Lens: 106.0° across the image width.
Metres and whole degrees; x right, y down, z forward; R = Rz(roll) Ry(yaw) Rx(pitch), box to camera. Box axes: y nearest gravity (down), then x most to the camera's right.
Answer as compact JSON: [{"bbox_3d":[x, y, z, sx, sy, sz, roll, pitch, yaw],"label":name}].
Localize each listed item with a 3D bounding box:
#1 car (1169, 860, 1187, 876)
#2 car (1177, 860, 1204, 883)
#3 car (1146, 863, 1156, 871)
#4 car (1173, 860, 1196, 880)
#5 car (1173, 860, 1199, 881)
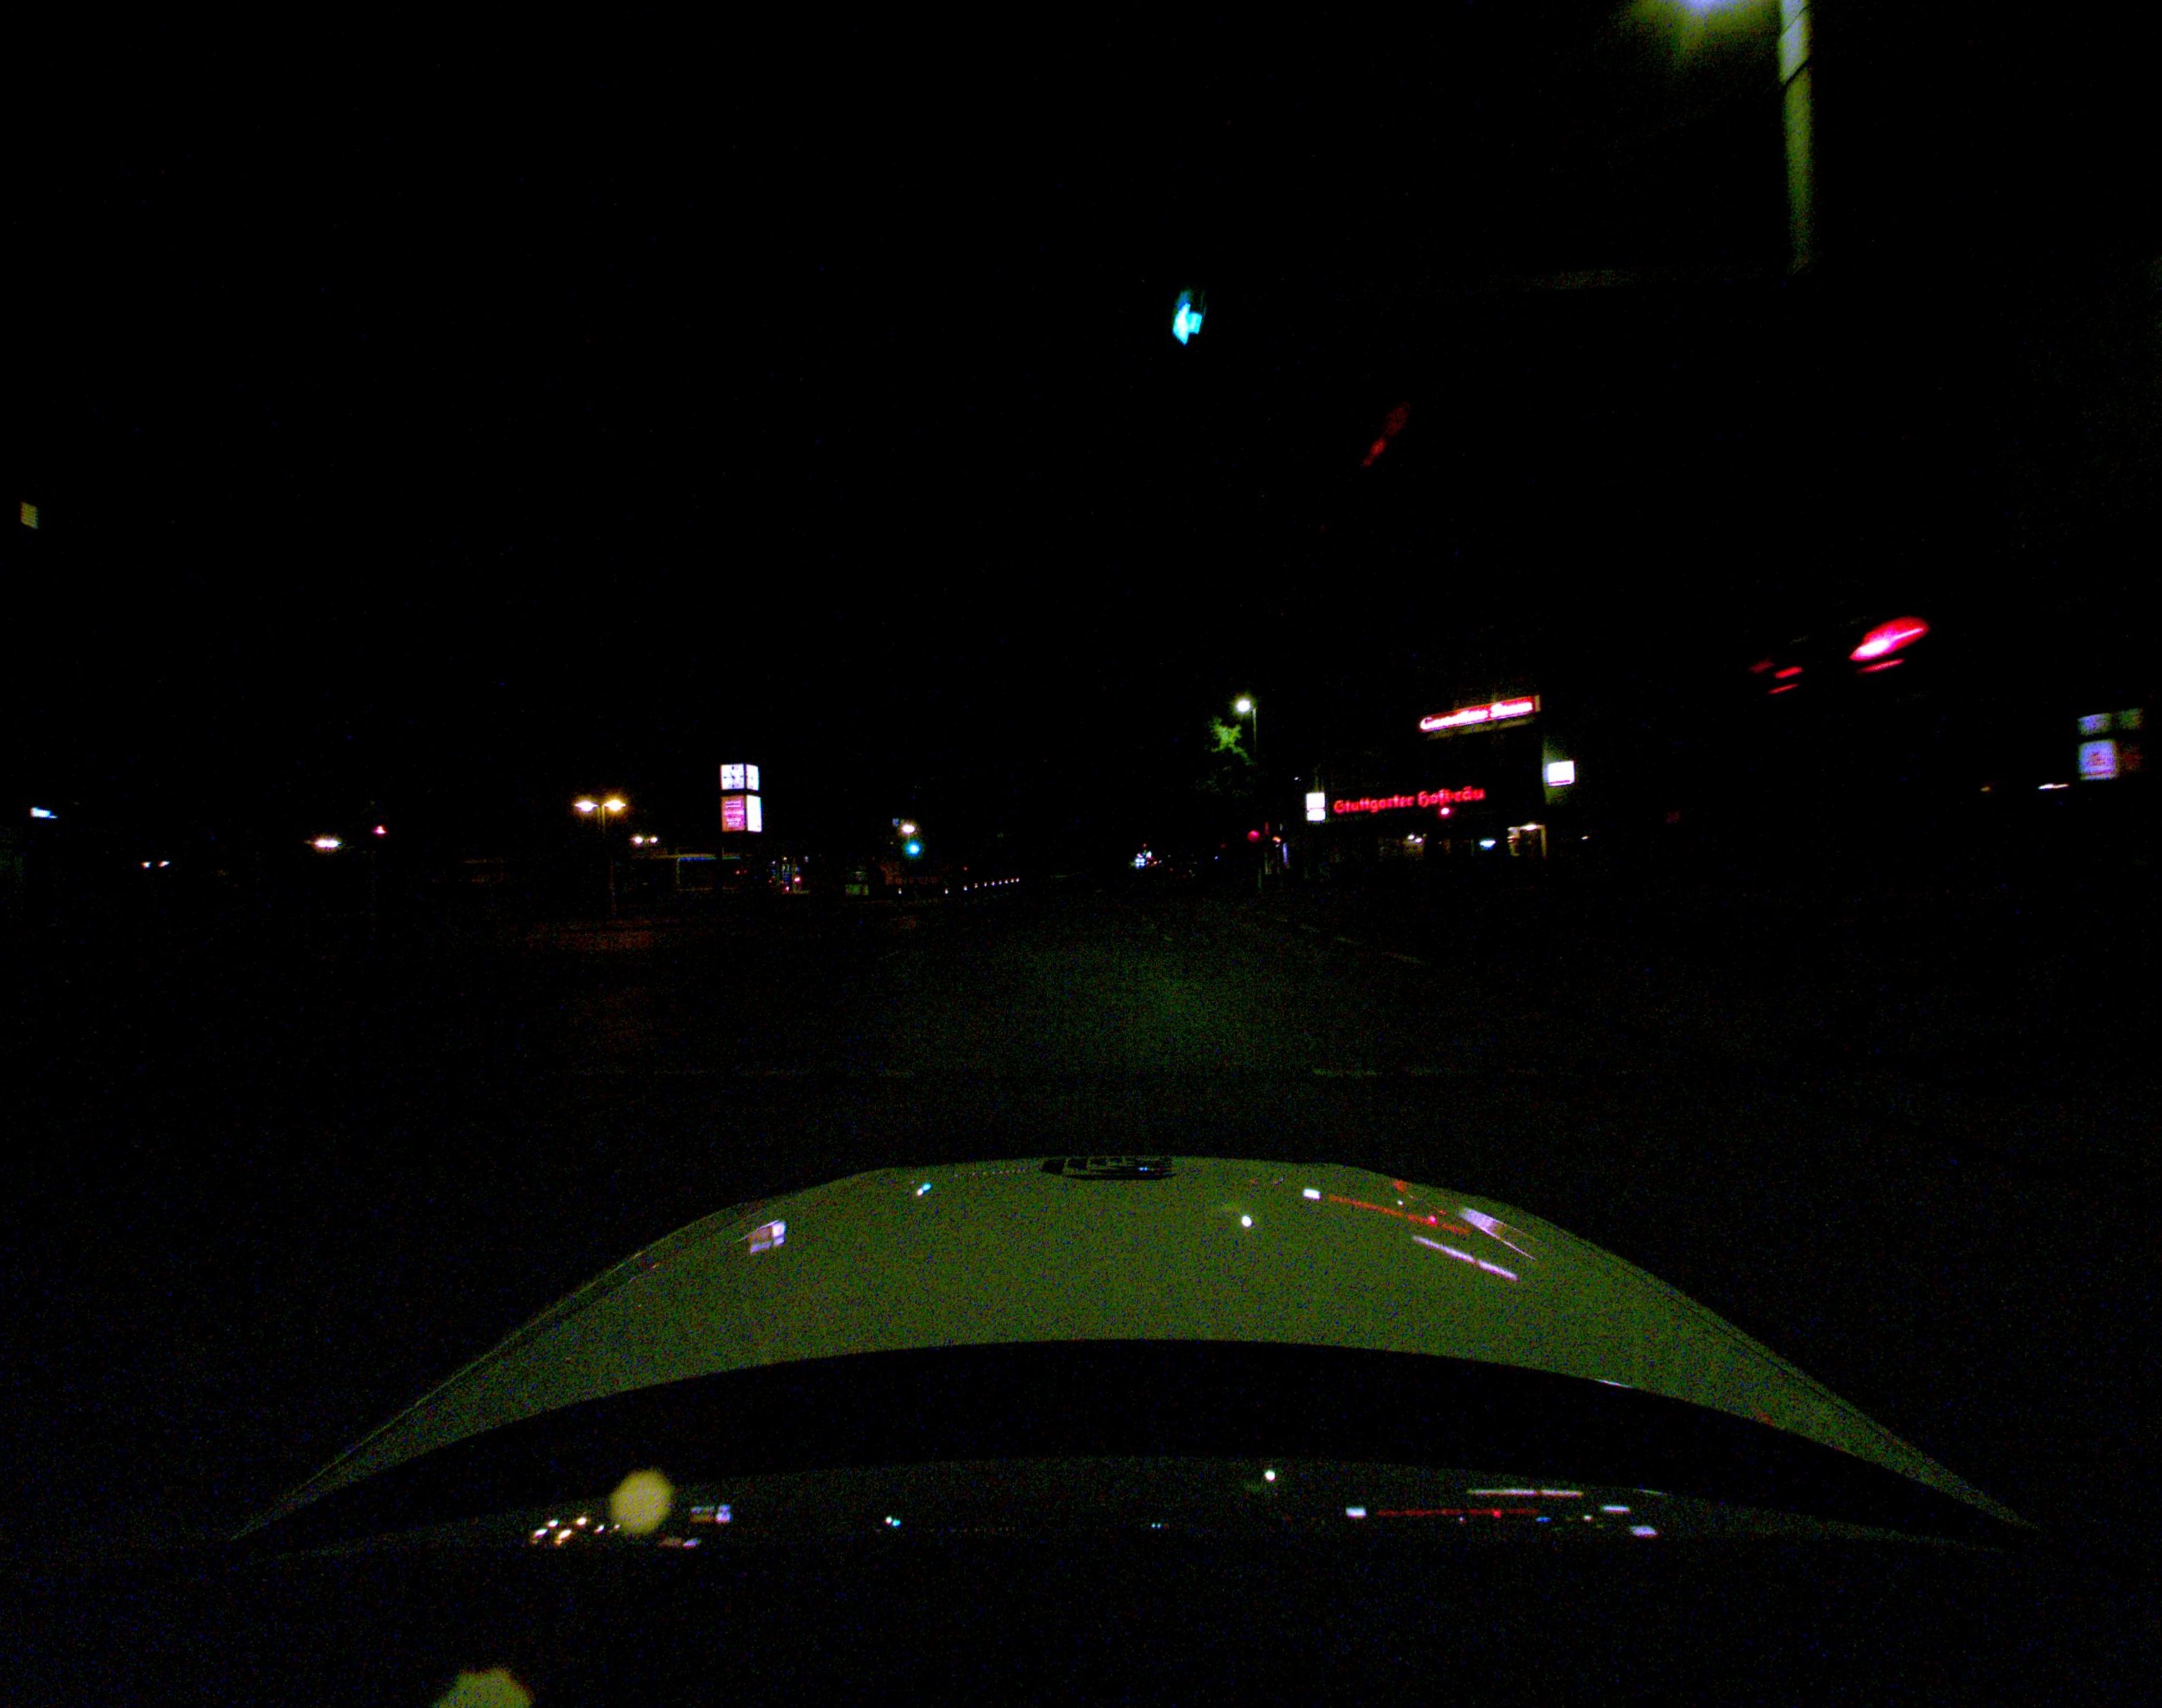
[{"bbox_3d":[10.942,1.560,91.808,1.867,1.684,4.006,-2,-1,5],"label":"car"},{"bbox_3d":[8.191,1.298,61.156,1.867,1.615,4.006,-2,-1,5],"label":"car"},{"bbox_3d":[13.118,2.381,153.047,1.865,1.454,4.321,-1,-1,4],"label":"car"},{"bbox_3d":[9.381,1.435,73.835,1.867,1.729,4.006,-2,-1,5],"label":"car"},{"bbox_3d":[8.506,1.331,66.186,1.867,1.615,4.006,-2,-1,5],"label":"car"}]
